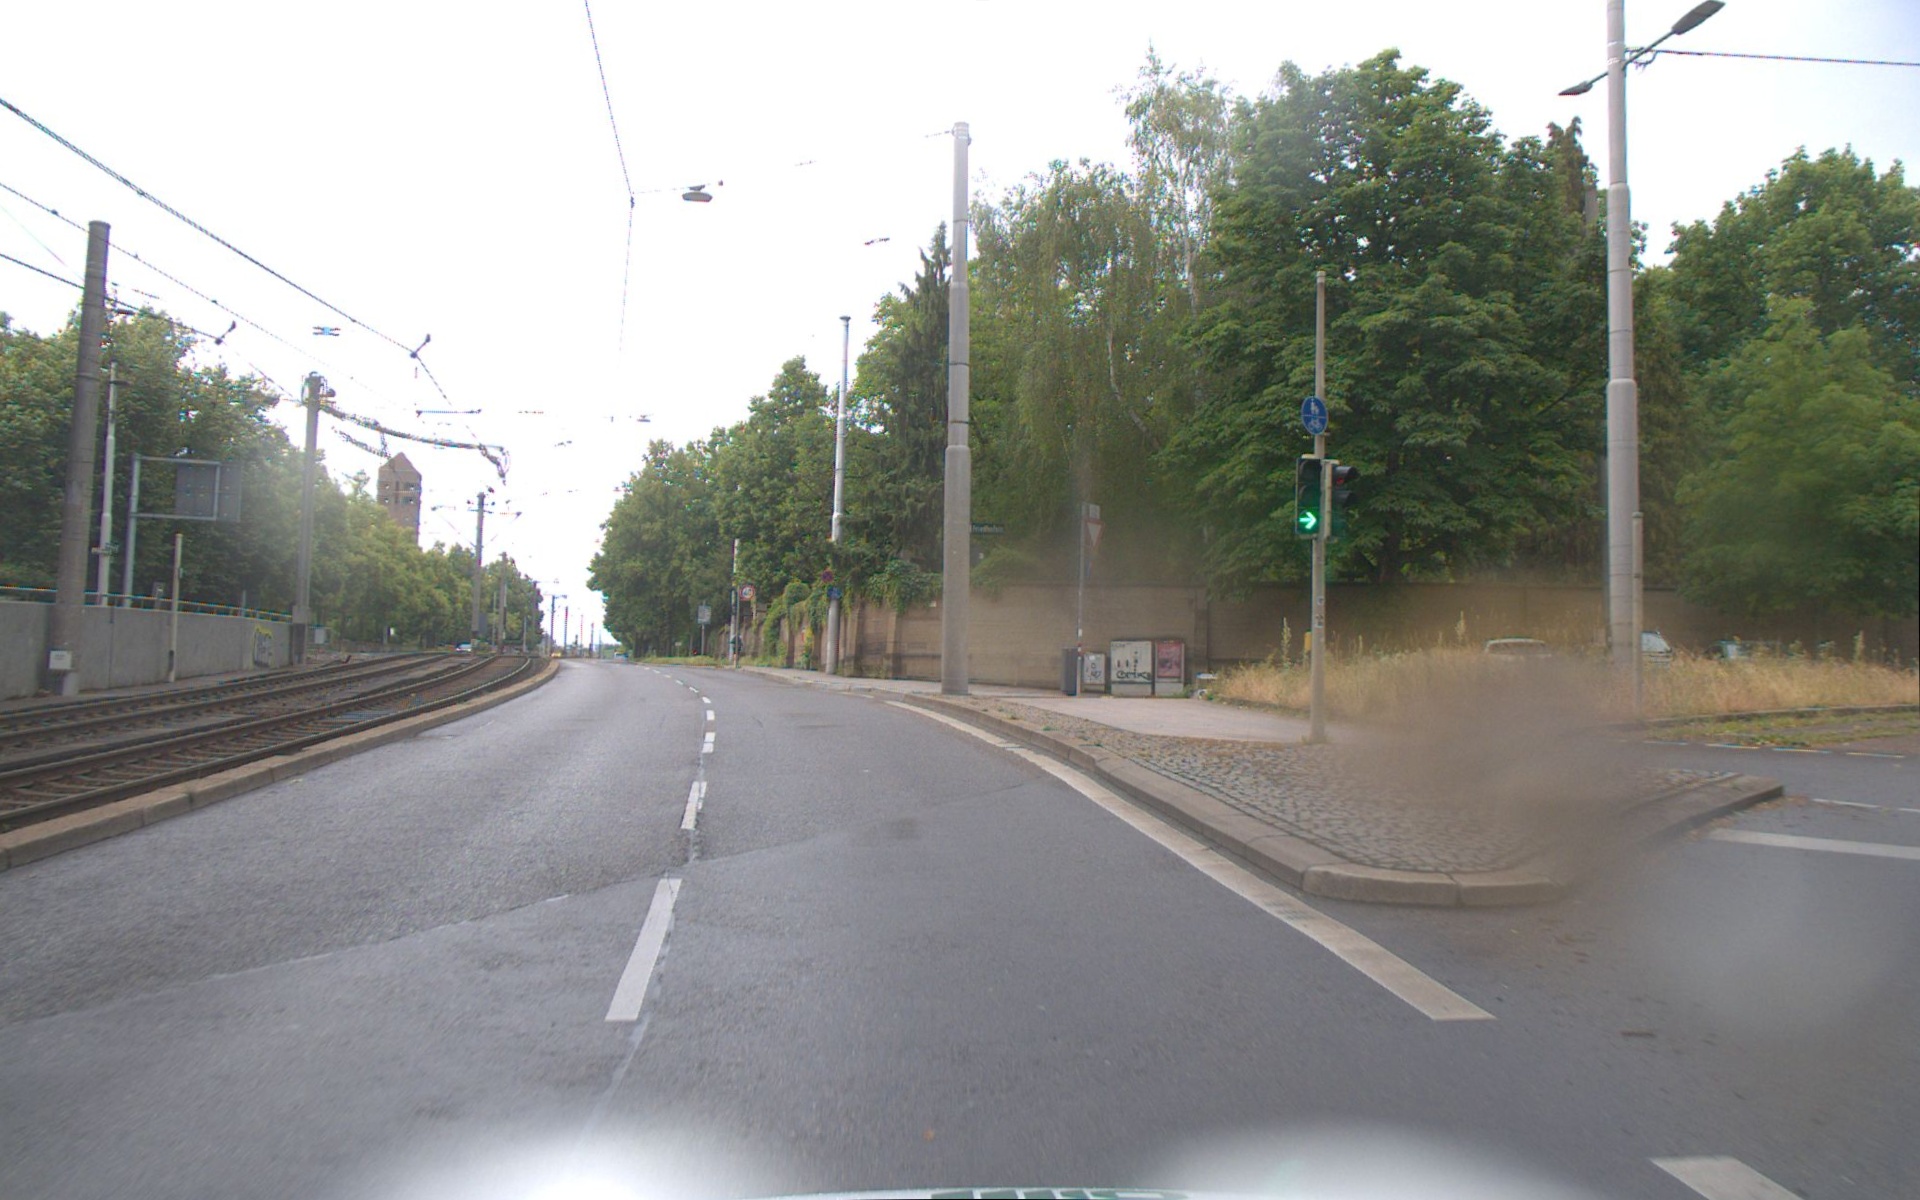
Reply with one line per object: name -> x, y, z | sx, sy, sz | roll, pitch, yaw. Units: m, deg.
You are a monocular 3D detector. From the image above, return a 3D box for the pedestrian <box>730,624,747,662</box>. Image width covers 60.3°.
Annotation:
pedestrian -> -11.365, 2.194, 84.786 | 0.707, 1.882, 0.780 | 3, -3, -12

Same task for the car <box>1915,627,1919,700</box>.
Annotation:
car -> 21.379, 1.233, 34.083 | 1.745, 1.584, 4.221 | -1, -5, 13

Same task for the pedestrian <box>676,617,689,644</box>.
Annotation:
pedestrian -> -17.924, 1.975, 106.848 | 0.707, 1.717, 0.727 | 3, -3, -13

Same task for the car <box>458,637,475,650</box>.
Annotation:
car -> -63.518, 5.625, 213.079 | 1.763, 1.537, 3.836 | 2, -2, -12

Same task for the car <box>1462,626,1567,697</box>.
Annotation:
car -> 12.058, 1.375, 36.178 | 1.715, 1.431, 4.002 | 0, -3, 12

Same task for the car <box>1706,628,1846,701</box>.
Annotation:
car -> 16.933, 1.378, 34.499 | 1.745, 1.416, 4.002 | 0, -4, 13
